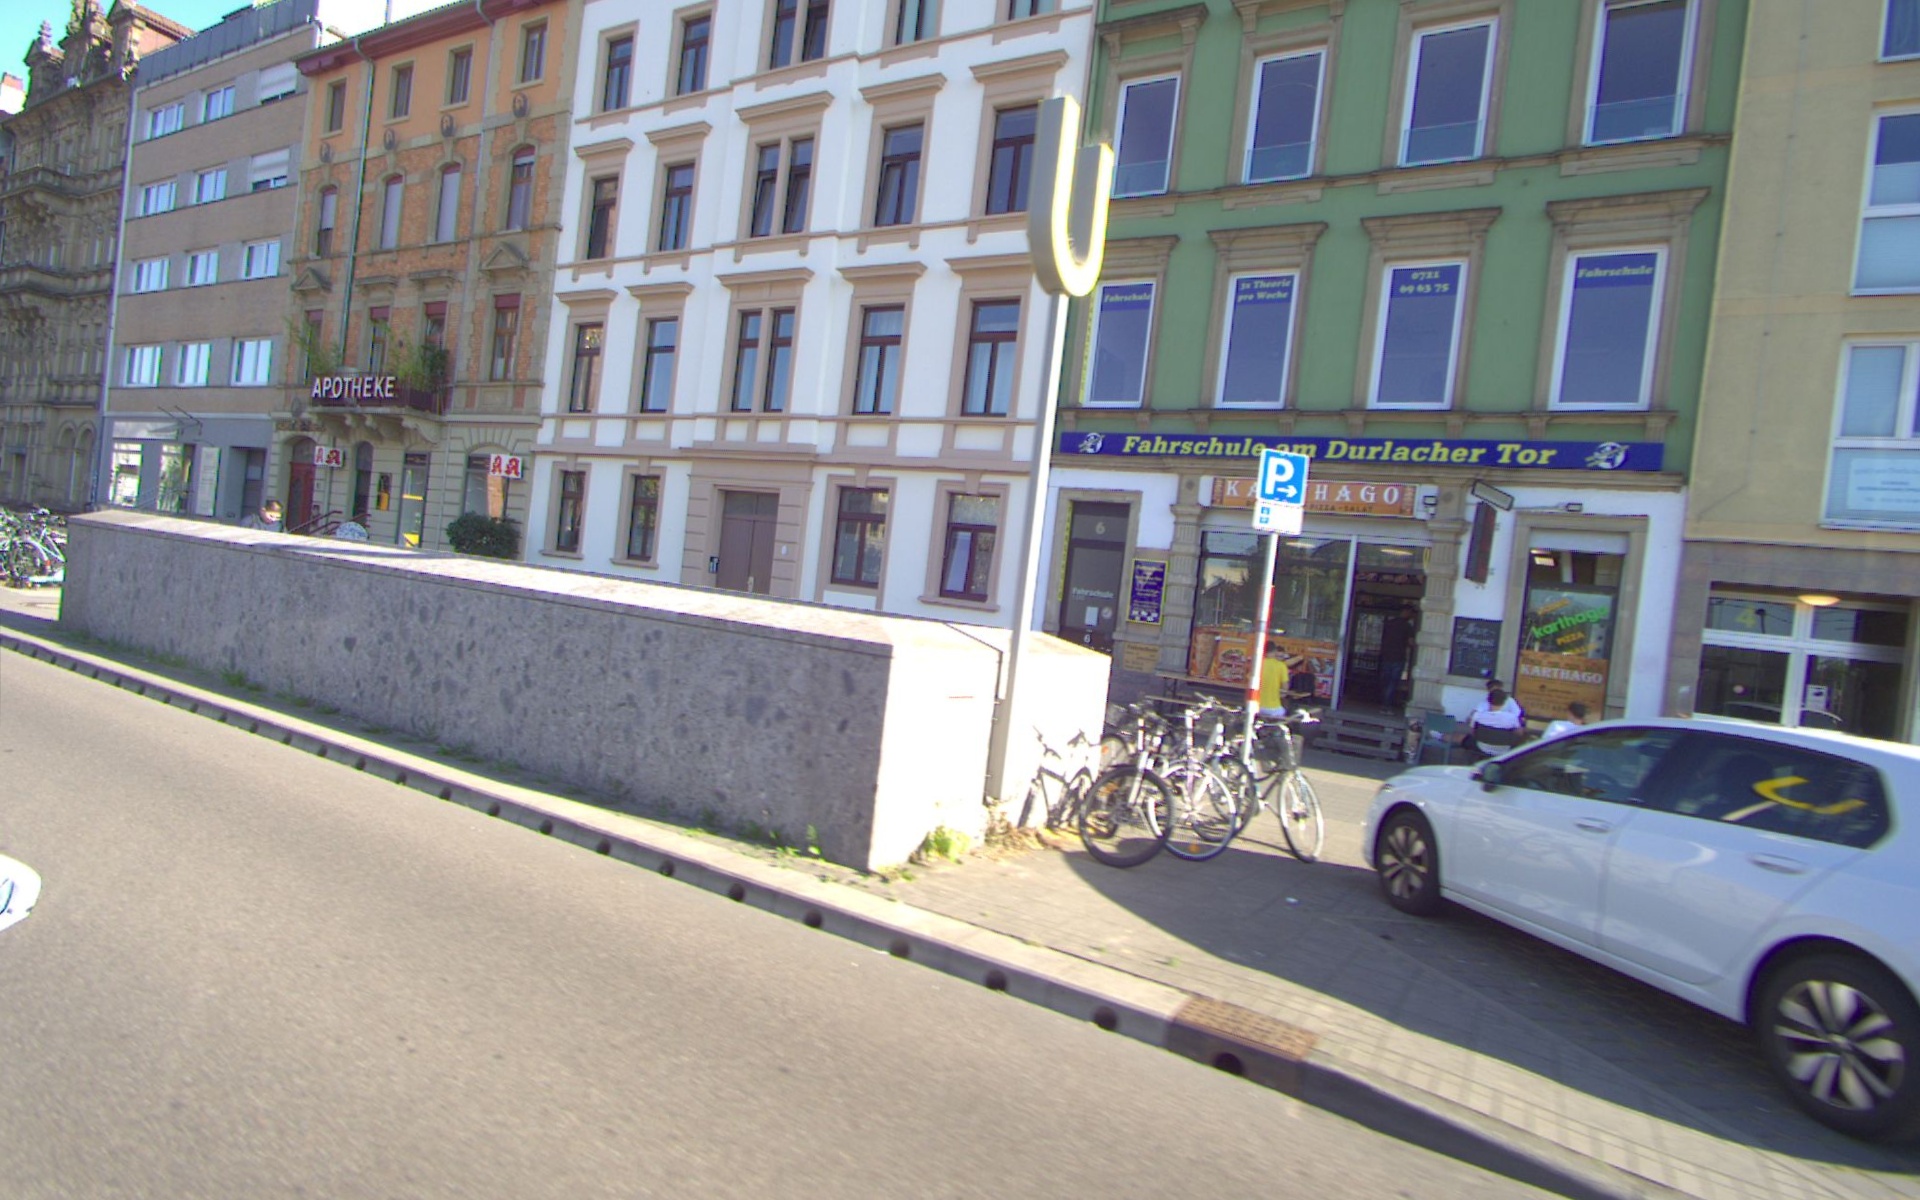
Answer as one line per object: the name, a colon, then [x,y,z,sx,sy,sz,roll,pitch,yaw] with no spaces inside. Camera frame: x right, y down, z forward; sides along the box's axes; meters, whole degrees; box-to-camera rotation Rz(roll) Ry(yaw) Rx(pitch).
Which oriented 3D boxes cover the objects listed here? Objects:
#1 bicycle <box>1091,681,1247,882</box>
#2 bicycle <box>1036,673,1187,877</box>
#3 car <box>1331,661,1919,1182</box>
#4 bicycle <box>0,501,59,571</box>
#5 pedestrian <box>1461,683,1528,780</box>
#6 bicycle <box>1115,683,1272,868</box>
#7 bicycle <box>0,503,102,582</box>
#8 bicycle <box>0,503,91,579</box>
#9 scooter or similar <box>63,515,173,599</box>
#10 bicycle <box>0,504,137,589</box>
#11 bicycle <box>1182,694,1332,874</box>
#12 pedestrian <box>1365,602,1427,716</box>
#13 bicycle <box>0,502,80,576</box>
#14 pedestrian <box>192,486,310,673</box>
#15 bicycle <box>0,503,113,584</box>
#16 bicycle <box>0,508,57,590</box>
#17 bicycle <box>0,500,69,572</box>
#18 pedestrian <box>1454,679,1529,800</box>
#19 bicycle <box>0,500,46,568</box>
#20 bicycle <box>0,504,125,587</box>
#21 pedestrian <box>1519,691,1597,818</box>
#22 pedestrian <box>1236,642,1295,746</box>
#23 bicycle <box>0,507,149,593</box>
bicycle: [1.381,1.184,6.814,0.413,1.123,1.091,8,-1,-17]
bicycle: [0.972,1.113,6.674,0.413,1.123,1.091,8,-1,-17]
car: [3.959,1.306,5.158,1.929,1.482,4.105,7,0,-10]
bicycle: [-18.049,-1.250,18.694,0.462,1.202,1.794,8,0,31]
pedestrian: [7.030,1.714,13.220,0.583,1.175,0.514,7,1,38]
bicycle: [1.689,1.255,7.425,0.502,1.123,1.091,8,-1,-17]
bicycle: [-16.347,-1.023,17.696,0.462,1.202,1.768,8,0,31]
bicycle: [-16.782,-1.082,17.958,0.462,1.202,1.768,8,0,31]
scooter or similar: [-13.853,-0.692,16.581,0.630,1.230,1.210,6,-1,4]
bicycle: [-15.086,-0.873,16.935,0.462,1.193,1.768,8,0,31]
bicycle: [2.214,1.354,7.619,0.413,1.123,1.091,8,-1,-17]
pedestrian: [6.909,0.937,15.946,0.584,1.733,0.514,7,1,43]
bicycle: [-17.200,-1.143,18.214,0.462,1.202,1.768,8,0,31]
pedestrian: [-8.213,-0.223,11.656,0.686,2.040,0.751,10,4,31]
bicycle: [-15.929,-0.983,17.427,0.462,1.202,1.768,8,0,31]
bicycle: [-15.033,-0.859,15.571,1.737,1.161,0.470,8,1,8]
bicycle: [-17.628,-1.220,18.458,0.462,1.202,1.768,8,0,31]
pedestrian: [6.369,1.651,12.047,0.583,1.336,0.514,7,1,38]
bicycle: [-18.485,-1.322,18.919,0.462,1.202,1.768,8,0,31]
bicycle: [-15.508,-0.926,17.180,0.462,1.202,1.768,8,0,31]
pedestrian: [6.842,1.744,11.509,0.583,1.336,0.514,7,1,38]
pedestrian: [4.192,1.275,13.786,0.581,1.336,0.516,7,1,24]
bicycle: [-14.672,-0.801,16.676,0.462,1.193,1.768,8,0,31]
